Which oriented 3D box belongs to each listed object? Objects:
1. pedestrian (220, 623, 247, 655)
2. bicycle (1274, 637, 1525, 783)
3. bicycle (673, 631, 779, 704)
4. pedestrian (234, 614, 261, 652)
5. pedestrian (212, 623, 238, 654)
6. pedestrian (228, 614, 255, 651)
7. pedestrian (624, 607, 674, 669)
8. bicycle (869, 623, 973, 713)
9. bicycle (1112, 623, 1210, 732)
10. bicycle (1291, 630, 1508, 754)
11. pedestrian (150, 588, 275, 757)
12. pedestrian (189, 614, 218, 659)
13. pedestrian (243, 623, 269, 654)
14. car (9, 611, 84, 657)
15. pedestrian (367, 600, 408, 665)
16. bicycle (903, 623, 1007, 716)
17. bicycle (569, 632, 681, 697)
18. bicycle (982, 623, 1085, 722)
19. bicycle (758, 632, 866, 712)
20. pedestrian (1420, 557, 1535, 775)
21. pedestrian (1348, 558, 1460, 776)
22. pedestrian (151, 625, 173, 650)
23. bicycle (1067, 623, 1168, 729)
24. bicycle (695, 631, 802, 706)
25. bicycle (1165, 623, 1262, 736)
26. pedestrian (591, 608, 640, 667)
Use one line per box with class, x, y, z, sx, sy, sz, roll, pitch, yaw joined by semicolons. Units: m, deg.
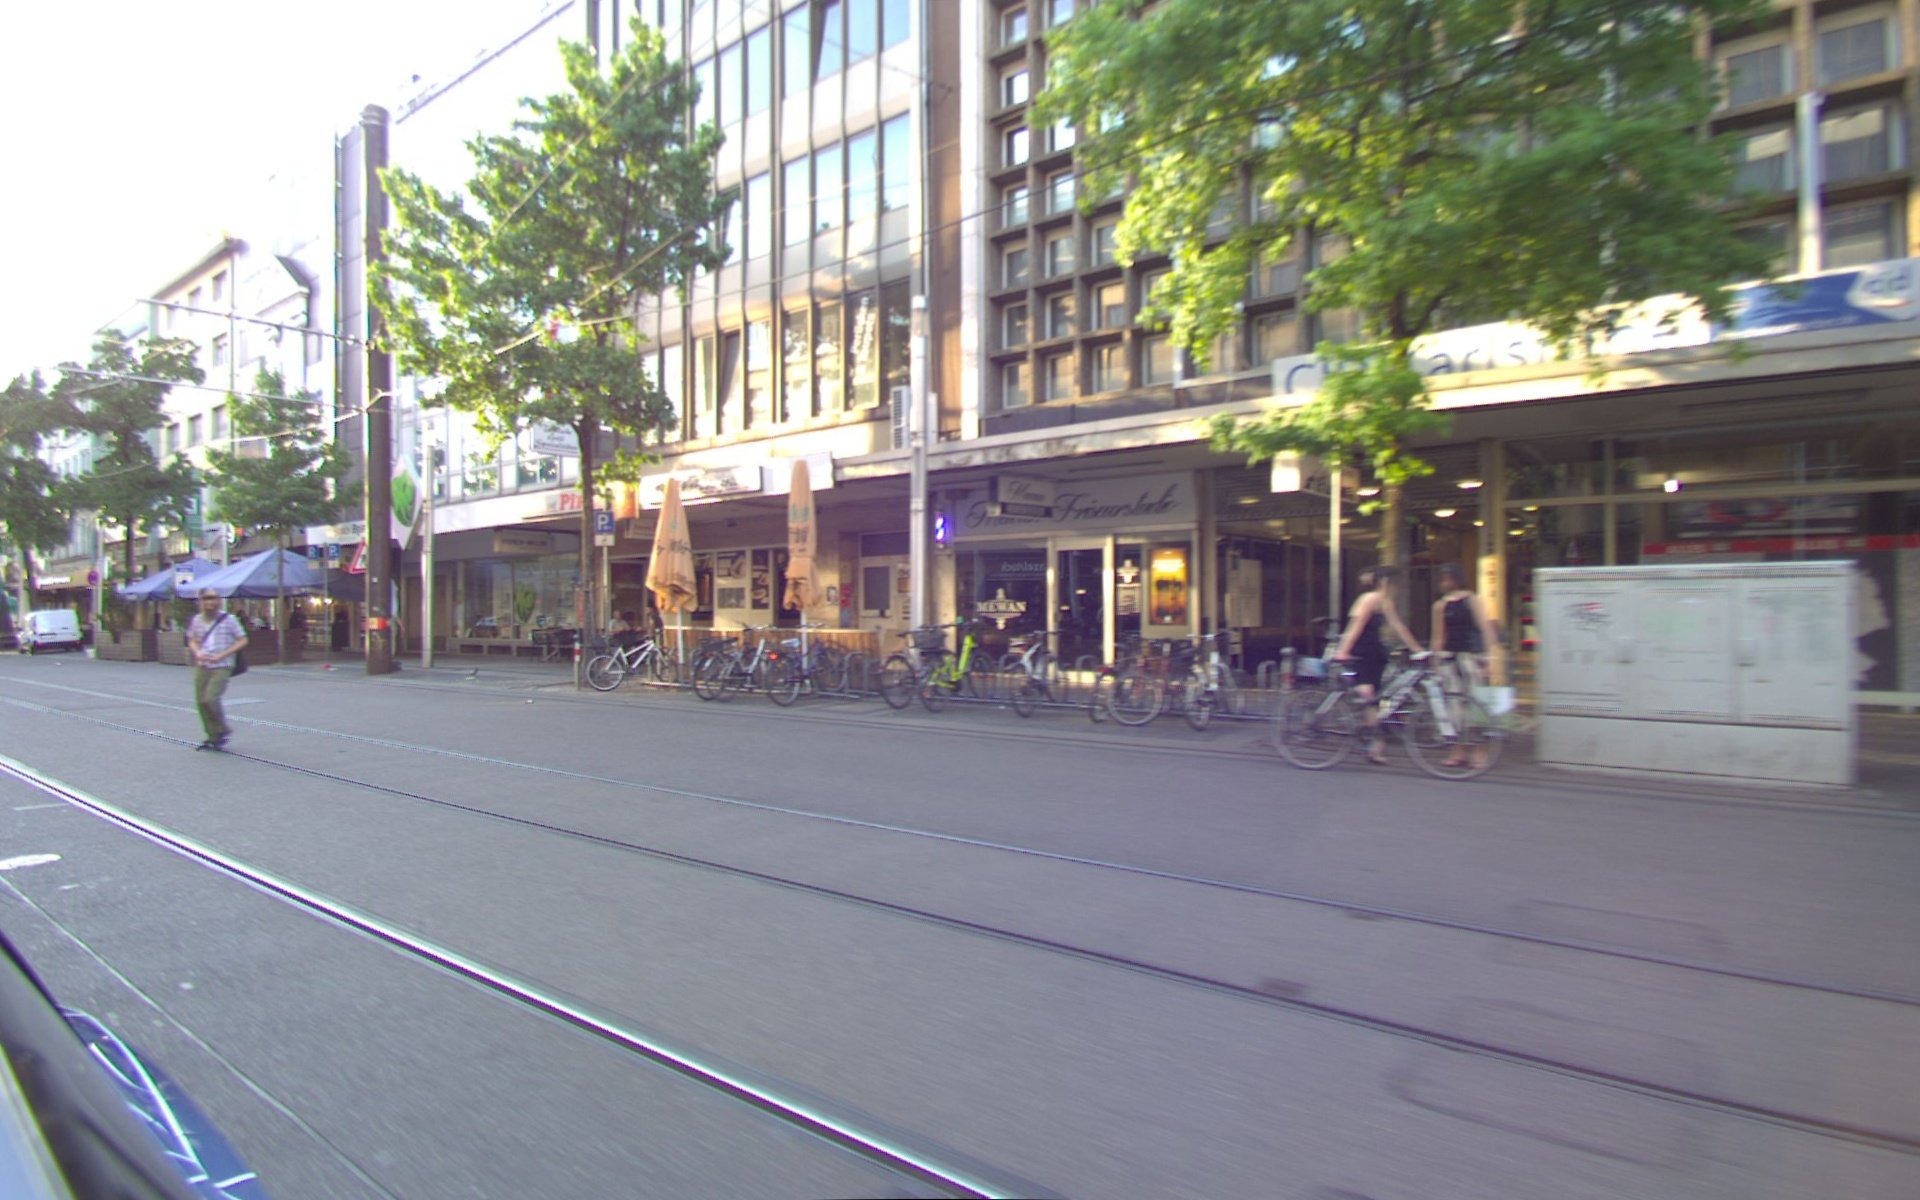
pedestrian;-27.928;1.502;38.888;0.664;1.165;0.635;-1;2;36
bicycle;3.503;0.839;8.155;1.774;1.053;0.483;-2;-1;36
bicycle;-3.628;1.033;15.843;0.488;0.997;1.758;-3;0;32
pedestrian;-28.795;1.325;40.906;0.642;1.444;0.655;0;4;38
pedestrian;-28.747;1.515;39.584;0.664;1.165;0.635;-1;2;36
pedestrian;-29.364;1.334;41.345;0.642;1.444;0.655;0;4;38
pedestrian;-7.091;0.852;23.073;0.910;1.335;0.664;-1;1;37
bicycle;-0.504;0.899;13.841;0.488;1.079;1.758;-2;0;32
bicycle;2.351;0.854;11.684;0.488;1.079;1.758;-2;0;32
bicycle;4.060;0.820;9.437;1.774;1.053;0.483;-2;-1;36
pedestrian;-8.370;0.780;11.384;0.808;1.806;0.993;0;-1;-14
pedestrian;-27.176;1.303;36.377;0.564;1.564;0.650;-1;2;36
pedestrian;-27.548;1.497;39.612;0.664;1.165;0.635;-1;2;36
car;-40.062;1.481;44.336;4.326;1.835;1.808;-2;1;40
pedestrian;-16.605;0.927;29.353;0.990;1.806;0.677;-1;1;41
bicycle;-0.041;0.891;13.498;0.488;1.079;1.758;-2;0;32
bicycle;-5.743;1.084;17.399;1.748;0.973;0.491;-2;1;-35
bicycle;0.959;0.876;12.765;0.488;1.079;1.758;-2;0;32
bicycle;-2.112;1.009;14.637;0.488;0.997;1.758;-3;0;32
pedestrian;4.242;0.517;8.313;0.592;1.712;0.537;-1;-1;-23
pedestrian;3.648;0.525;8.339;0.592;1.712;0.537;-1;-1;-23
pedestrian;-38.011;1.789;48.208;0.648;1.184;0.643;-1;0;33
bicycle;1.892;0.861;11.980;0.488;1.079;1.758;-2;0;32
bicycle;-3.210;1.027;15.521;0.488;0.997;1.758;-3;0;32
bicycle;2.855;0.841;11.270;0.488;1.079;1.758;-2;0;32
pedestrian;-8.086;0.870;23.739;0.910;1.335;0.664;-1;1;37
